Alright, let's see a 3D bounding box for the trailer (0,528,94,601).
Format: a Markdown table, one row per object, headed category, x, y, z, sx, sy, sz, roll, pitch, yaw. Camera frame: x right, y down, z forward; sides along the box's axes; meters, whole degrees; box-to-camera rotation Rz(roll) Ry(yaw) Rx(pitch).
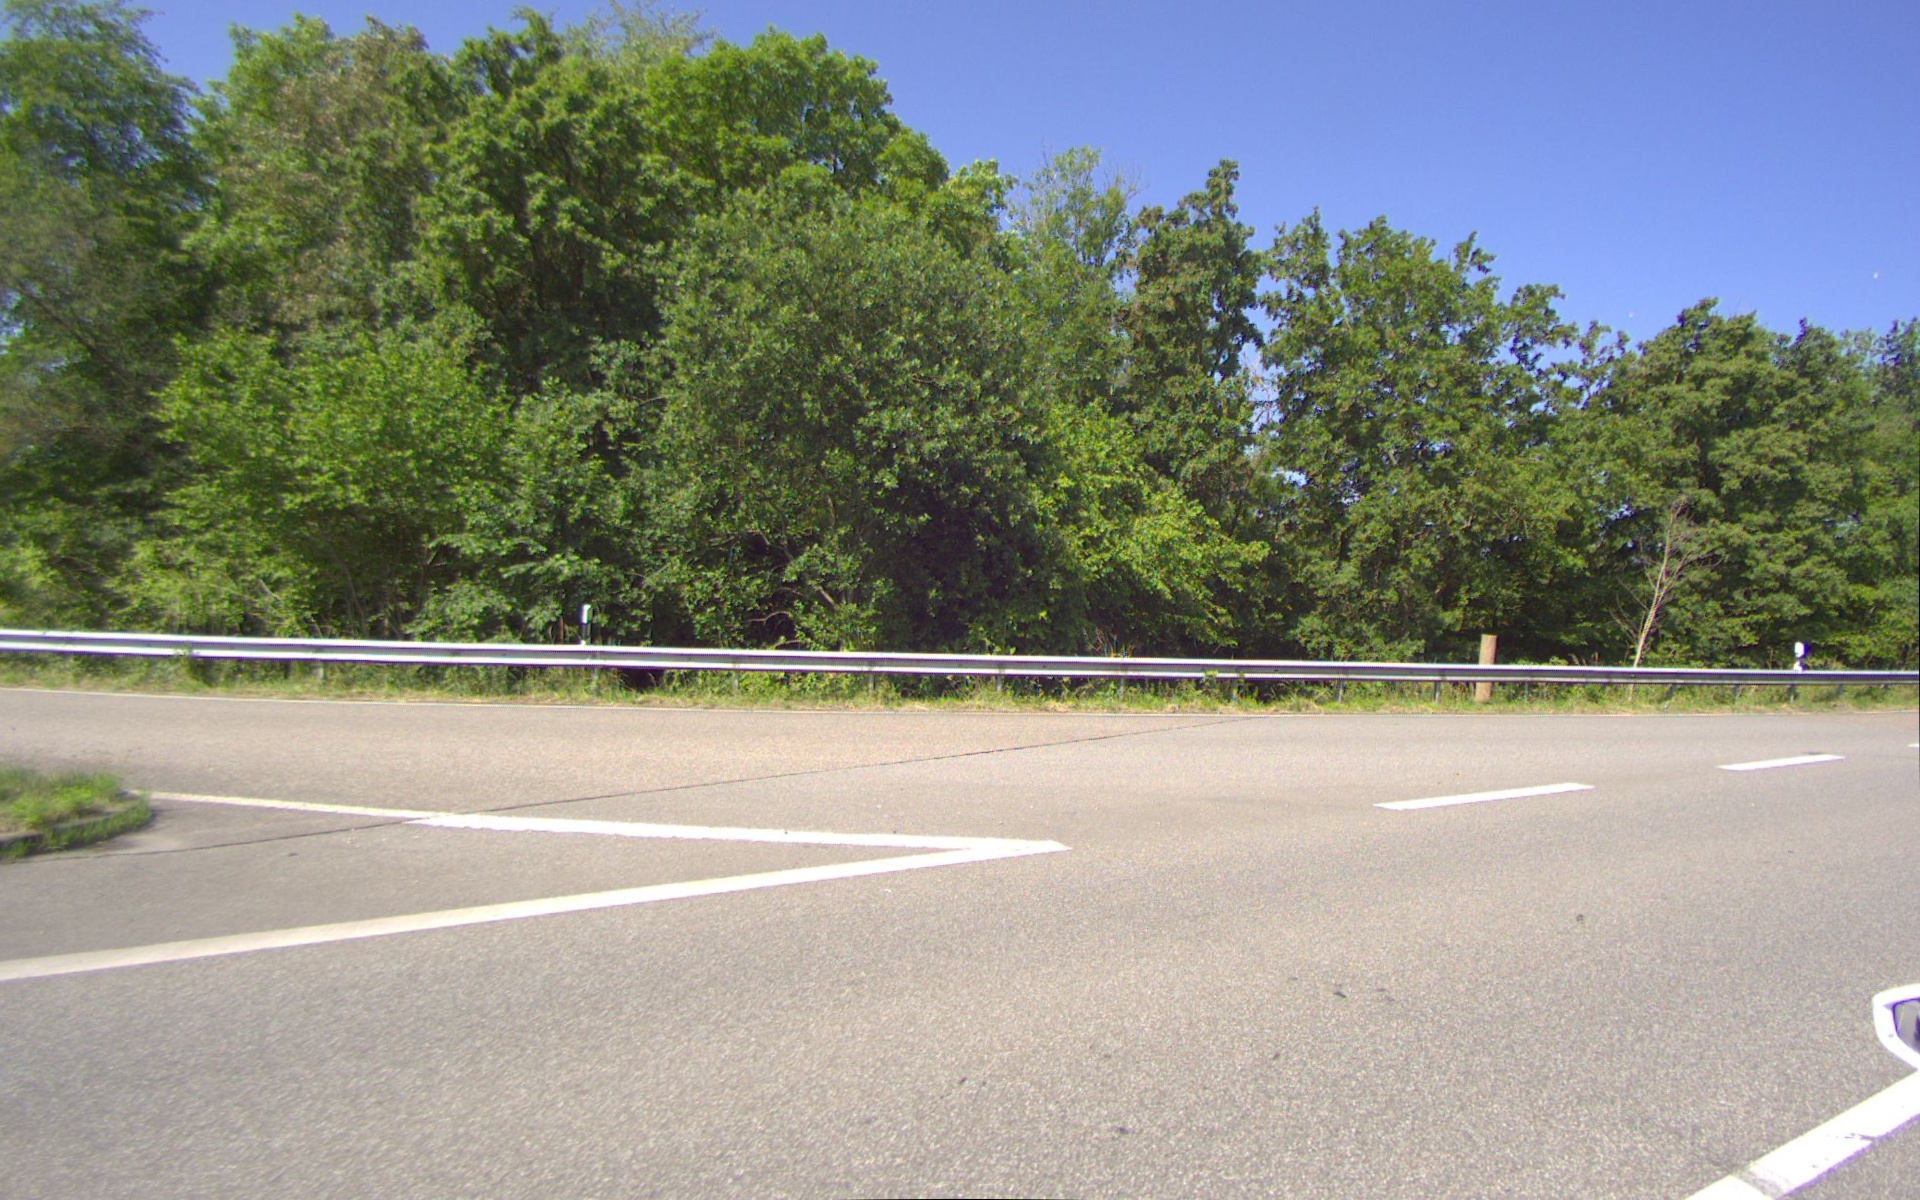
| category | x | y | z | sx | sy | sz | roll | pitch | yaw |
| --- | --- | --- | --- | --- | --- | --- | --- | --- | --- |
| trailer | -59.897 | -2.131 | 64.972 | 2.861 | 4.220 | 13.876 | 2 | 0 | -28 |
